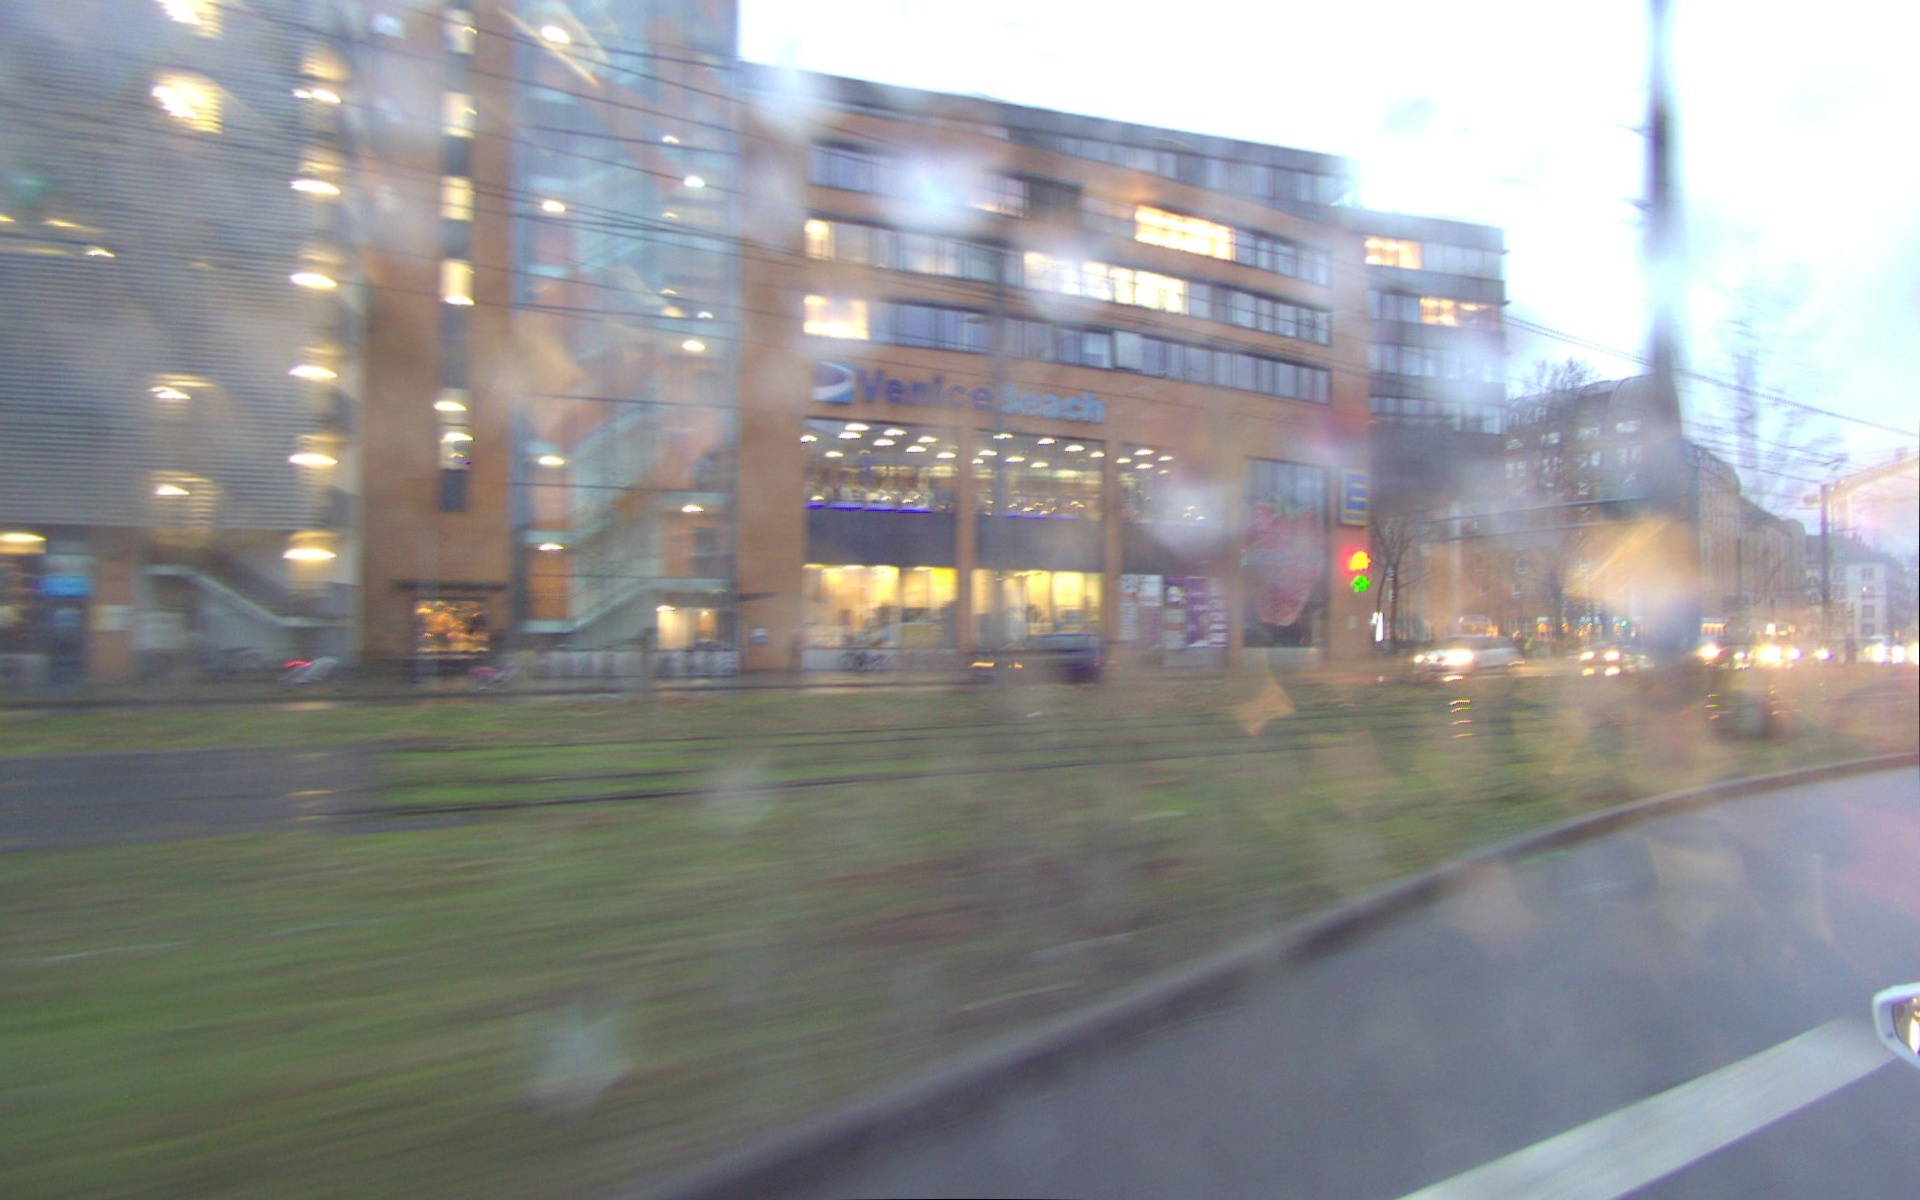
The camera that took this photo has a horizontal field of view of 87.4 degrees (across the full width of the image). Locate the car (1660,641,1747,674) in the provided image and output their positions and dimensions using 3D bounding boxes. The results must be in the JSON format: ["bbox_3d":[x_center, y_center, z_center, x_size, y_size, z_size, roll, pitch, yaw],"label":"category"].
[{"bbox_3d":[33.703,2.573,45.495,4.151,1.411,1.720,1,-2,-31],"label":"car"}]

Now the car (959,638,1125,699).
[{"bbox_3d":[2.118,1.712,25.826,3.904,1.461,1.809,1,-2,-26],"label":"car"}]

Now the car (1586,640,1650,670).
[{"bbox_3d":[33.944,2.791,51.756,4.383,1.468,1.618,2,-2,-40],"label":"car"}]

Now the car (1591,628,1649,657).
[{"bbox_3d":[40.589,2.586,61.756,3.581,1.714,1.624,1,-2,-32],"label":"car"}]

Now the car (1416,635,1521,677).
[{"bbox_3d":[17.433,1.909,34.406,3.609,1.390,1.499,2,-3,-30],"label":"car"}]

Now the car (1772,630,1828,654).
[{"bbox_3d":[52.157,2.582,62.353,3.581,1.469,1.624,1,-2,-32],"label":"car"}]

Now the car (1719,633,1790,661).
[{"bbox_3d":[42.919,2.509,54.240,4.275,1.468,1.979,2,-2,-37],"label":"car"}]
